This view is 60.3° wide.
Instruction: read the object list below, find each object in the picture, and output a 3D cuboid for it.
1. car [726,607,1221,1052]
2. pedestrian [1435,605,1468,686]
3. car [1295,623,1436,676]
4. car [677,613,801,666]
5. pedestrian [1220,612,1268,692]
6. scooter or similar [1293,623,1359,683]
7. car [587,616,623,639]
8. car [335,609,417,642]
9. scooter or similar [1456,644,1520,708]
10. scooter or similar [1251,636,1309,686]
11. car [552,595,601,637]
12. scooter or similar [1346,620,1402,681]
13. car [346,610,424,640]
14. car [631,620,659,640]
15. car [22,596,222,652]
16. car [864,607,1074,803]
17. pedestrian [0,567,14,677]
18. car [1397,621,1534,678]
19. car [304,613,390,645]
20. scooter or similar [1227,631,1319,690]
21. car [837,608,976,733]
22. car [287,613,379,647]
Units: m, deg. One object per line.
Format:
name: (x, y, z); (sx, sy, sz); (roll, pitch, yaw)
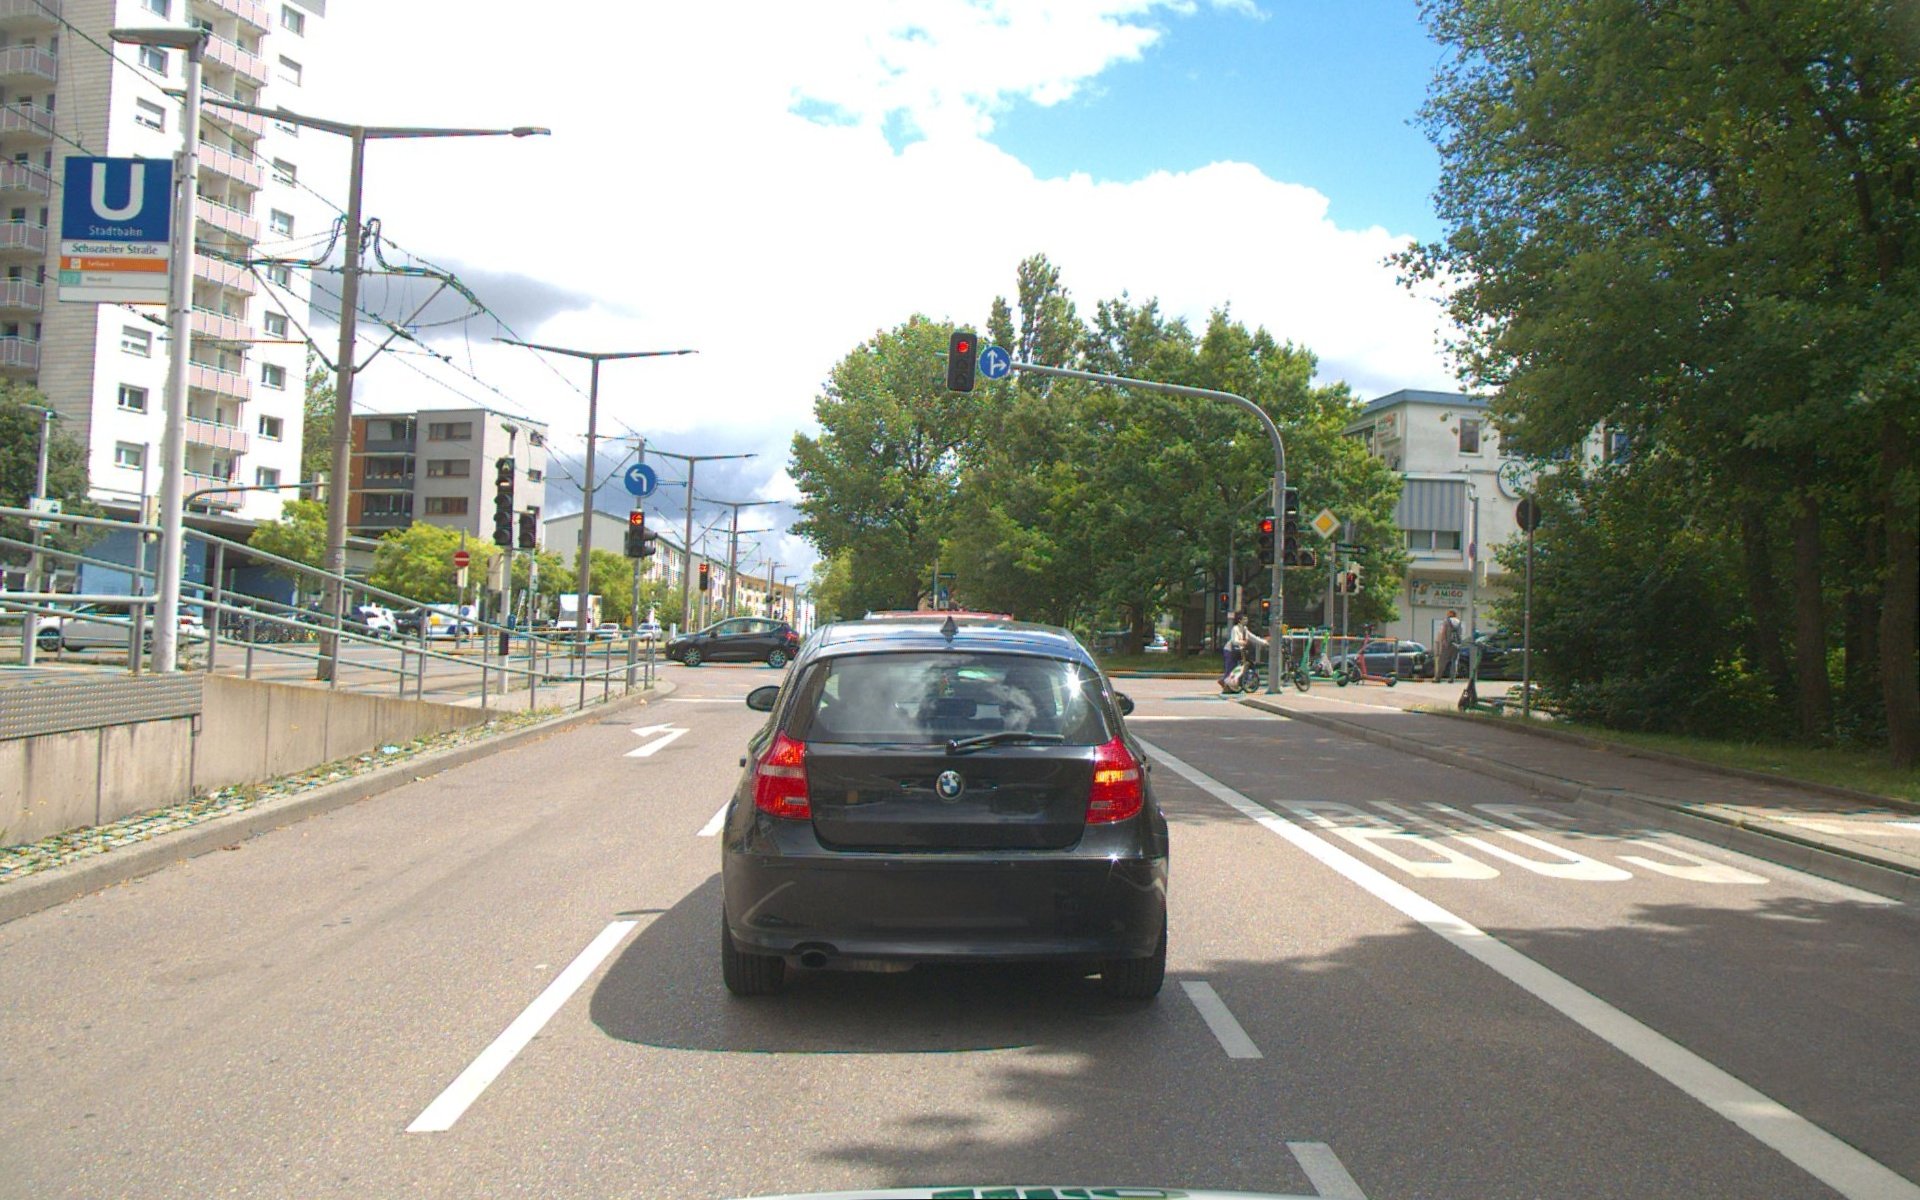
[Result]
car: (0.077, 0.766, 7.242); (1.620, 1.443, 3.517); (1, 0, 1)
pedestrian: (11.469, 1.061, 38.581); (0.600, 1.821, 0.569); (4, -1, 18)
car: (12.635, 1.545, 51.609); (3.913, 1.553, 1.672); (1, 0, -9)
car: (-6.509, 1.150, 48.637); (3.537, 1.488, 1.613); (1, 0, -9)
pedestrian: (5.356, 0.962, 31.167); (0.846, 1.468, 0.799); (1, -1, 11)
scooter or similar: (7.464, 1.083, 33.727); (1.267, 1.210, 0.383); (1, -1, -17)
car: (-26.577, 2.037, 123.911); (1.927, 1.624, 3.997); (1, 0, -3)
car: (-28.957, 1.254, 82.099); (3.537, 1.488, 1.613); (2, -1, -9)
scooter or similar: (9.373, 1.341, 29.360); (1.133, 1.118, 0.329); (1, -1, -25)
scooter or similar: (6.296, 1.192, 32.513); (1.102, 0.974, 0.299); (1, -1, -17)
car: (-25.505, 1.026, 110.188); (2.096, 2.686, 5.356); (1, 0, -2)
scooter or similar: (8.660, 1.056, 34.607); (1.087, 1.280, 0.331); (1, -1, -13)
car: (-29.574, 1.278, 85.104); (3.537, 1.488, 1.613); (1, 0, -9)
car: (-27.512, 2.585, 144.552); (1.928, 1.624, 3.996); (1, 0, -4)
car: (-23.494, 0.665, 46.509); (4.550, 1.506, 1.997); (1, 0, -7)
car: (0.067, 0.800, 14.219); (1.562, 1.443, 3.516); (1, 0, 0)
pedestrian: (-15.357, 0.339, 25.751); (0.672, 1.726, 0.861); (1, -1, 9)
car: (14.987, 1.471, 49.116); (3.515, 1.629, 1.706); (1, -1, -13)
car: (-28.930, 1.365, 78.099); (3.537, 1.488, 1.613); (1, 0, -9)
scooter or similar: (5.851, 1.130, 30.884); (1.756, 1.069, 0.407); (1, 0, -24)
car: (-0.701, 0.844, 21.289); (1.621, 1.443, 3.515); (1, 0, -2)
car: (-27.956, 1.333, 73.814); (3.537, 1.488, 1.613); (1, 0, -9)
